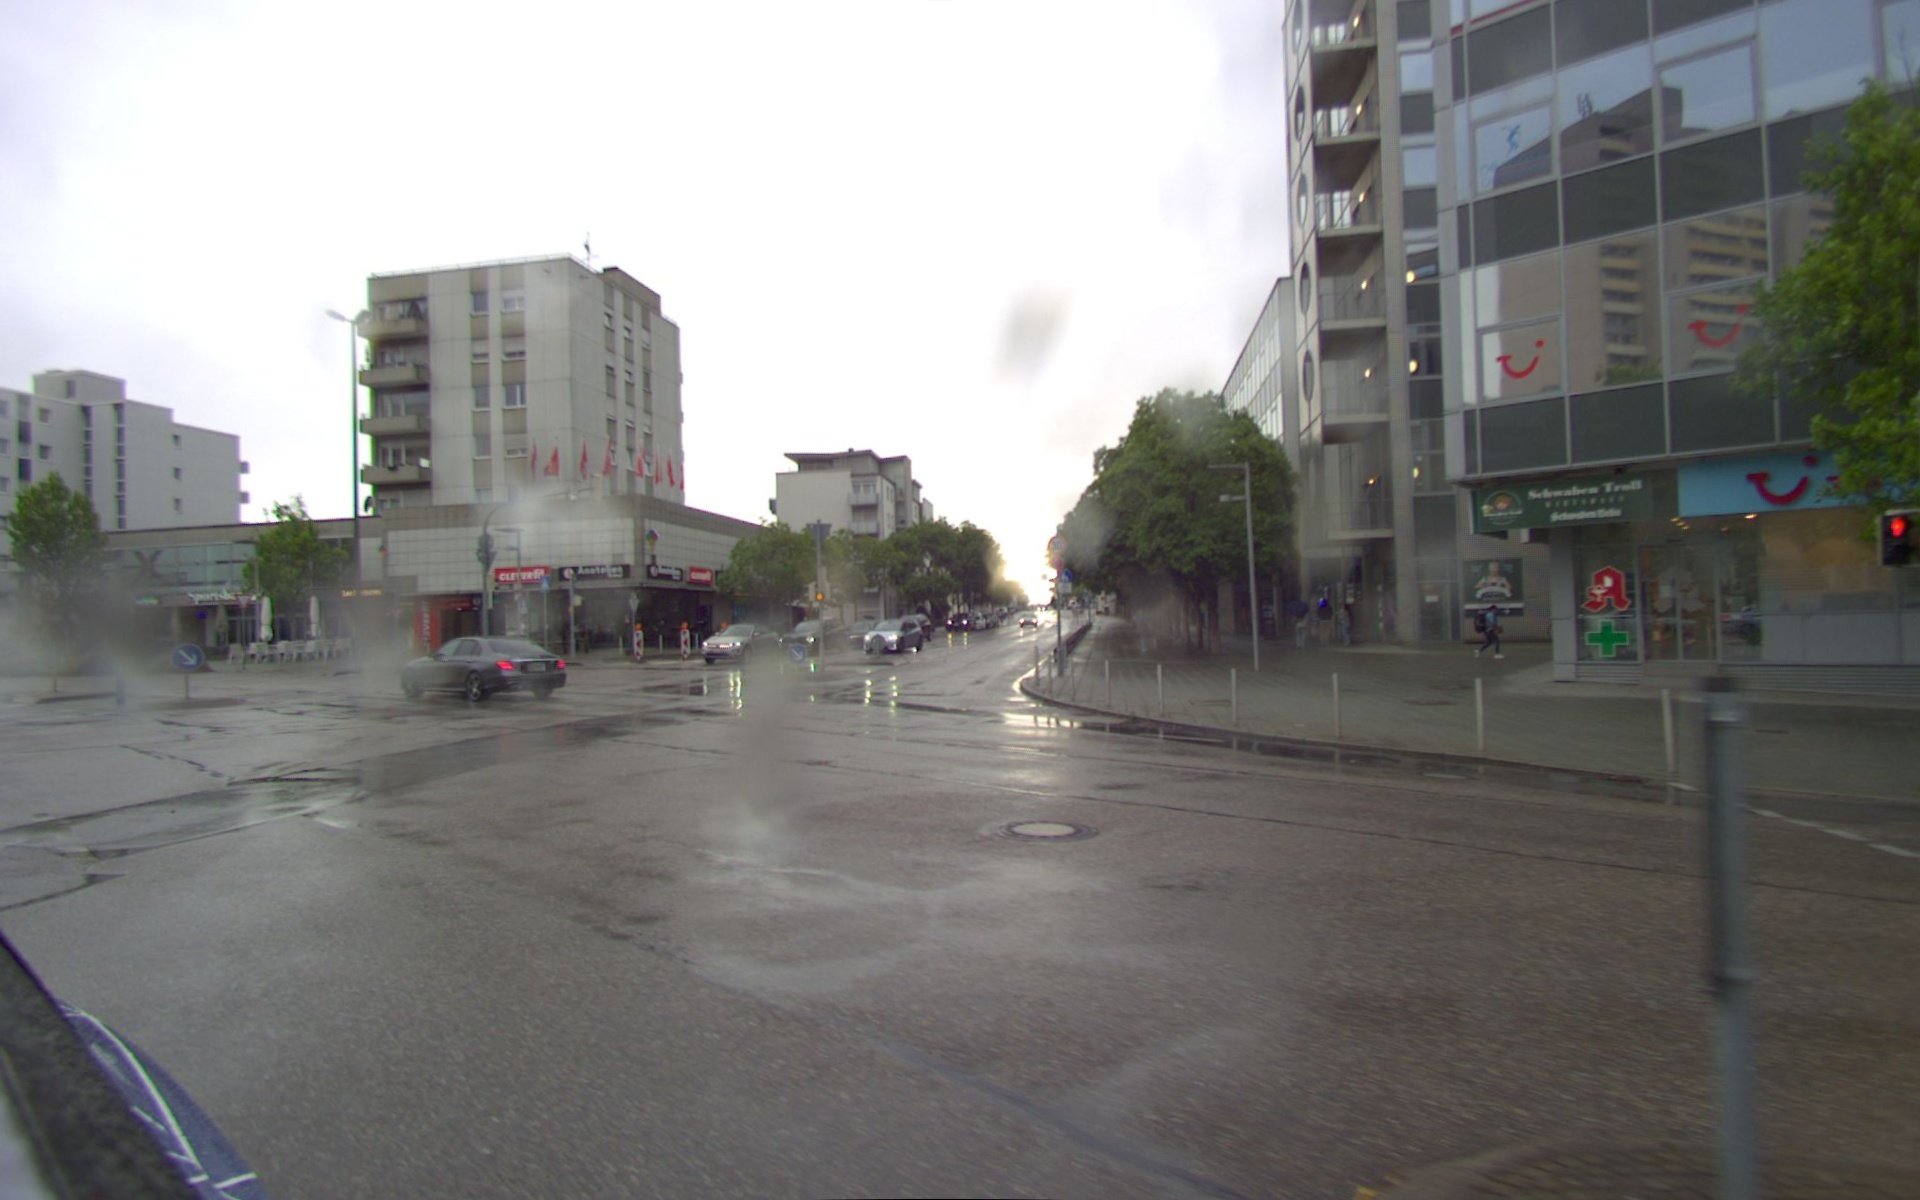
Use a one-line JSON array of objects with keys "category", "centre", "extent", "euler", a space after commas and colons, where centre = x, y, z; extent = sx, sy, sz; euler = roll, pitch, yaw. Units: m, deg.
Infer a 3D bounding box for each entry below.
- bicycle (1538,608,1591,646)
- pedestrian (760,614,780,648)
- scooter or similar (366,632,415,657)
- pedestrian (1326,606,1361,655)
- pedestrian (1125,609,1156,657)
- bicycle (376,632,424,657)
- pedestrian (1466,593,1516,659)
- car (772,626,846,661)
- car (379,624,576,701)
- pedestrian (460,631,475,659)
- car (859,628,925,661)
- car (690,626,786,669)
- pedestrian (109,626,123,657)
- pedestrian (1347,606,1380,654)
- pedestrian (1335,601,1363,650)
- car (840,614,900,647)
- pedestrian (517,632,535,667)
[{"category": "bicycle", "centre": [20.776, 0.937, 34.848], "extent": [0.668, 1.256, 2.275], "euler": [-2, -2, 8]}, {"category": "pedestrian", "centre": [-10.674, 1.739, 56.950], "extent": [0.804, 1.908, 0.713], "euler": [-3, -2, 28]}, {"category": "scooter or similar", "centre": [-29.035, 2.261, 51.654], "extent": [0.636, 1.183, 2.583], "euler": [-3, -1, 12]}, {"category": "pedestrian", "centre": [15.701, 1.248, 41.479], "extent": [0.741, 1.882, 0.836], "euler": [-5, -4, -19]}, {"category": "pedestrian", "centre": [7.868, 1.420, 44.190], "extent": [1.152, 2.029, 1.325], "euler": [-3, -2, 8]}, {"category": "bicycle", "centre": [-29.866, 2.350, 53.989], "extent": [0.690, 1.232, 2.542], "euler": [-3, -1, 13]}, {"category": "pedestrian", "centre": [15.072, 0.750, 28.705], "extent": [1.024, 1.833, 0.836], "euler": [-4, -3, 41]}, {"category": "car", "centre": [-6.972, 1.988, 47.129], "extent": [1.853, 1.431, 4.037], "euler": [-2, -1, 16]}, {"category": "car", "centre": [-11.419, 1.414, 23.840], "extent": [4.887, 1.644, 1.905], "euler": [-2, -2, 33]}, {"category": "pedestrian", "centre": [-24.006, 2.180, 49.328], "extent": [0.537, 1.358, 0.490], "euler": [-2, -1, 44]}, {"category": "car", "centre": [-3.141, 2.057, 47.839], "extent": [1.758, 1.431, 4.035], "euler": [-3, -2, 17]}, {"category": "car", "centre": [-8.856, 1.865, 40.681], "extent": [1.856, 1.607, 4.178], "euler": [-1, -1, 20]}, {"category": "pedestrian", "centre": [-51.217, 2.517, 61.404], "extent": [0.497, 1.862, 0.424], "euler": [-3, -2, 21]}, {"category": "pedestrian", "centre": [16.002, 1.193, 40.159], "extent": [0.819, 1.882, 0.756], "euler": [-1, -2, -18]}, {"category": "pedestrian", "centre": [15.144, 0.993, 39.411], "extent": [0.745, 1.882, 0.831], "euler": [-2, -2, 9]}, {"category": "car", "centre": [-4.769, 1.618, 54.204], "extent": [1.853, 1.607, 3.979], "euler": [-3, -1, 16]}, {"category": "pedestrian", "centre": [-22.615, 2.571, 52.698], "extent": [0.703, 1.705, 0.659], "euler": [-5, -3, -26]}]
